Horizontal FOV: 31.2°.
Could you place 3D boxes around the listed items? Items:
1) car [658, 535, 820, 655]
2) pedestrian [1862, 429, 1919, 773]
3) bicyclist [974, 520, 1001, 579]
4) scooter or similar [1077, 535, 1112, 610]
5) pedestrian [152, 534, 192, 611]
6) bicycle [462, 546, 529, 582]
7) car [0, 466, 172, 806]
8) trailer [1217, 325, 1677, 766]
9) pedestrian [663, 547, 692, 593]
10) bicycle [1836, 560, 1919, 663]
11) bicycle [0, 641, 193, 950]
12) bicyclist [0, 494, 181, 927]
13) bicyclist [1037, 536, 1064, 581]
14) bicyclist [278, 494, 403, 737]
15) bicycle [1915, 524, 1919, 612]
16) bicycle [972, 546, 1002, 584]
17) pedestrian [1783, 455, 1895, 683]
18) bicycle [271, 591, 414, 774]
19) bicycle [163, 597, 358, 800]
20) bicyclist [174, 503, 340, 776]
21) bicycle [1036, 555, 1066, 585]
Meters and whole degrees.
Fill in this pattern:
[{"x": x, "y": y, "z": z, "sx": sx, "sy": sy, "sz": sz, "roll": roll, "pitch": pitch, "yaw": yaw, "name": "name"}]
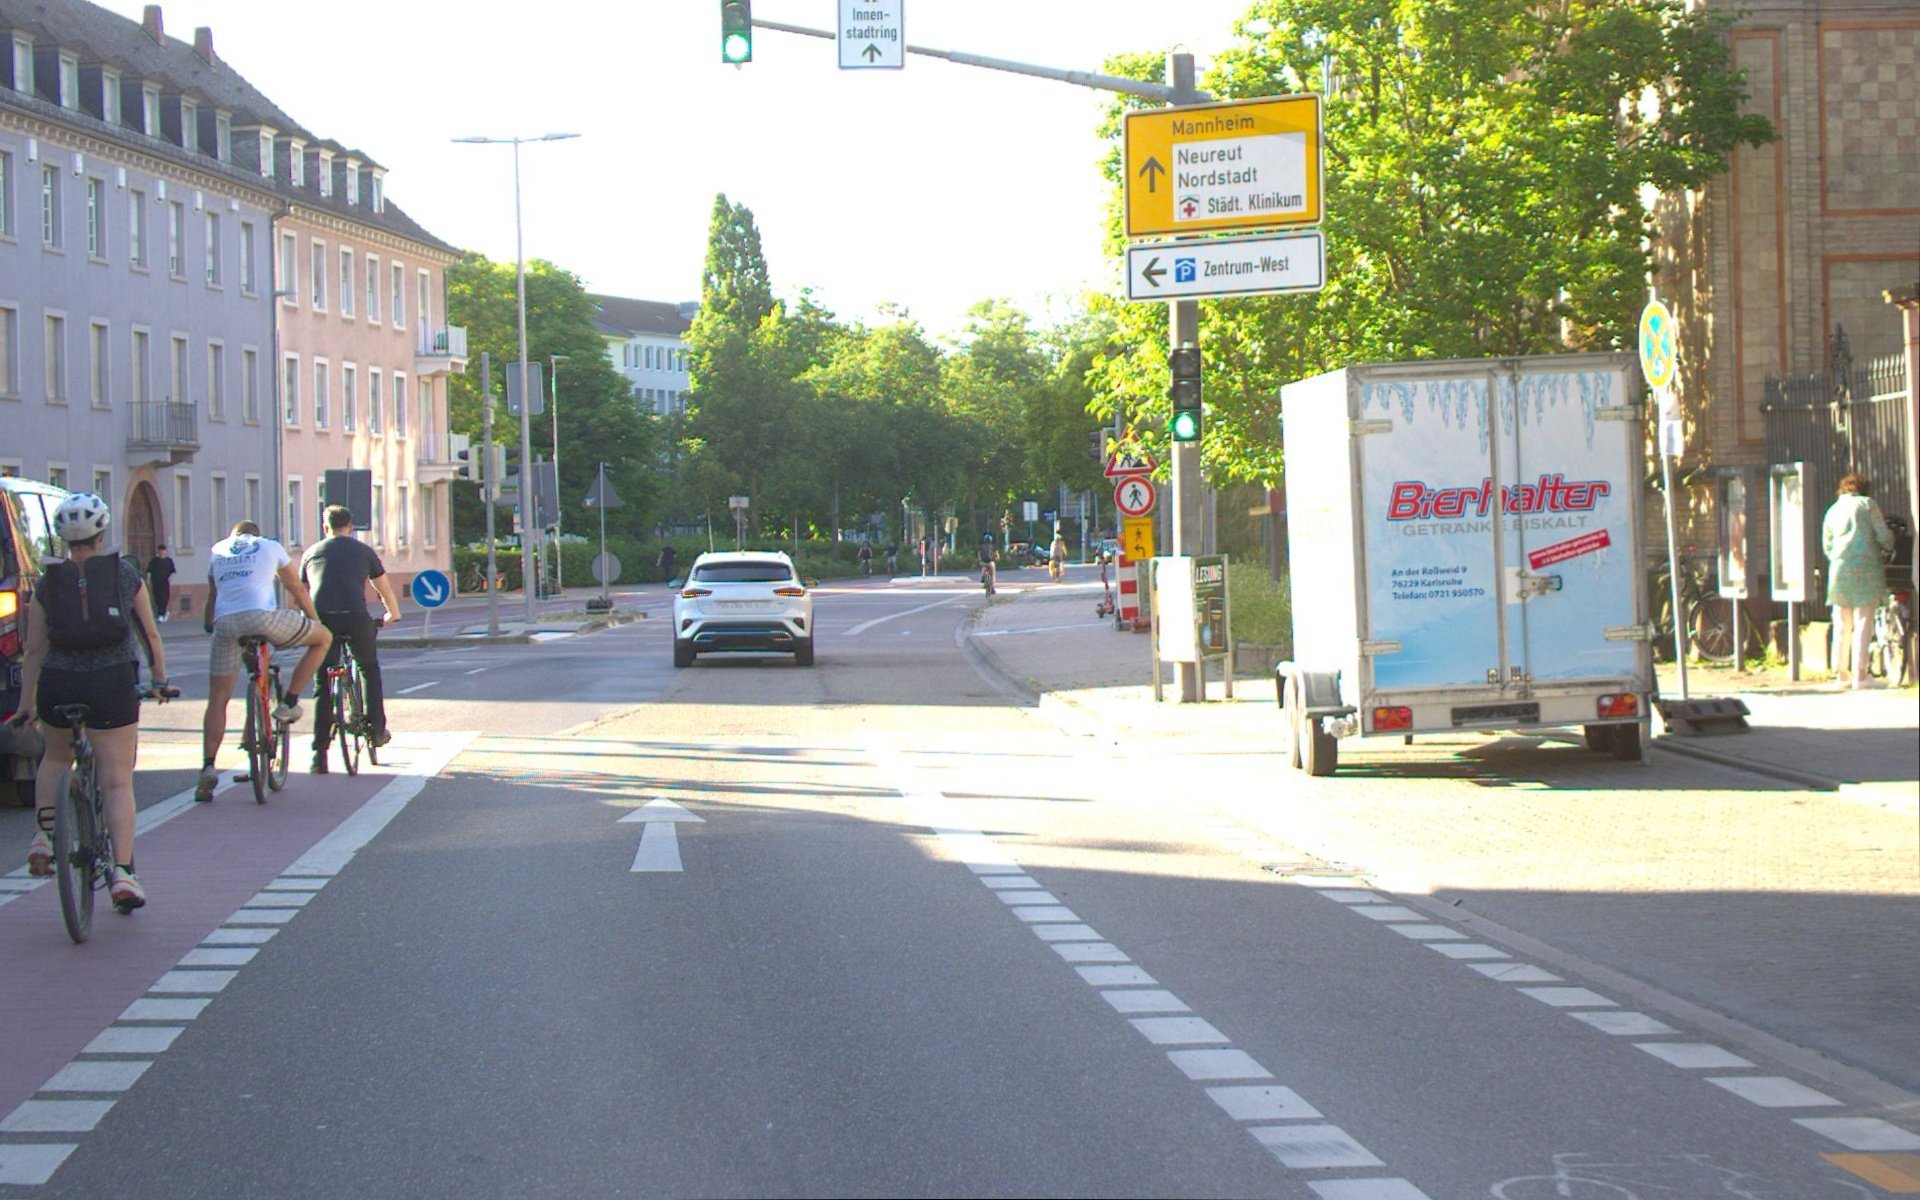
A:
[{"x": -2.914, "y": -0.096, "z": 45.630, "sx": 1.993, "sy": 1.448, "sz": 4.001, "roll": -2, "pitch": 1, "yaw": -3, "name": "car"}, {"x": 5.582, "y": -0.014, "z": 19.192, "sx": 0.715, "sy": 1.888, "sz": 0.890, "roll": -3, "pitch": 2, "yaw": -6, "name": "pedestrian"}, {"x": 0.753, "y": -1.385, "z": 94.718, "sx": 0.636, "sy": 1.609, "sz": 1.284, "roll": 0, "pitch": 1, "yaw": 5, "name": "bicyclist"}, {"x": 2.441, "y": -0.514, "z": 62.089, "sx": 0.555, "sy": 1.304, "sz": 1.832, "roll": -2, "pitch": 1, "yaw": 3, "name": "scooter or similar"}, {"x": -18.956, "y": -0.664, "z": 82.714, "sx": 0.631, "sy": 1.840, "sz": 1.013, "roll": 1, "pitch": 1, "yaw": 4, "name": "pedestrian"}, {"x": -17.028, "y": -1.316, "z": 126.047, "sx": 2.321, "sy": 1.225, "sz": 0.560, "roll": -2, "pitch": 1, "yaw": 11, "name": "bicycle"}, {"x": -6.437, "y": 0.206, "z": 21.784, "sx": 2.067, "sy": 1.909, "sz": 5.034, "roll": -2, "pitch": 1, "yaw": -5, "name": "car"}, {"x": 3.088, "y": -0.380, "z": 22.833, "sx": 2.079, "sy": 2.519, "sz": 4.493, "roll": -3, "pitch": 1, "yaw": -3, "name": "trailer"}, {"x": -11.583, "y": -1.248, "z": 140.939, "sx": 0.856, "sy": 1.845, "sz": 1.001, "roll": -2, "pitch": 1, "yaw": 10, "name": "pedestrian"}, {"x": 7.474, "y": 0.083, "z": 27.919, "sx": 0.264, "sy": 0.790, "sz": 1.451, "roll": -2, "pitch": 1, "yaw": -3, "name": "bicycle"}, {"x": -3.497, "y": 0.728, "z": 13.451, "sx": 0.669, "sy": 1.069, "sz": 1.753, "roll": -1, "pitch": 1, "yaw": -3, "name": "bicycle"}, {"x": -3.501, "y": 0.413, "z": 13.567, "sx": 0.672, "sy": 1.646, "sz": 0.887, "roll": -1, "pitch": 1, "yaw": -4, "name": "bicyclist"}, {"x": 3.192, "y": -1.463, "z": 121.005, "sx": 0.747, "sy": 1.532, "sz": 0.969, "roll": -1, "pitch": 1, "yaw": 12, "name": "bicyclist"}, {"x": -4.210, "y": 0.096, "z": 23.393, "sx": 0.670, "sy": 1.602, "sz": 0.825, "roll": -2, "pitch": 1, "yaw": -2, "name": "bicyclist"}, {"x": 7.465, "y": -0.013, "z": 25.234, "sx": 0.399, "sy": 1.102, "sz": 1.680, "roll": -3, "pitch": 1, "yaw": 1, "name": "bicycle"}, {"x": 0.751, "y": -0.968, "z": 94.768, "sx": 0.643, "sy": 1.021, "sz": 2.212, "roll": 0, "pitch": 1, "yaw": 5, "name": "bicycle"}, {"x": 6.926, "y": -0.250, "z": 27.118, "sx": 0.639, "sy": 1.762, "sz": 0.737, "roll": -2, "pitch": 1, "yaw": -1, "name": "pedestrian"}, {"x": -4.184, "y": 0.534, "z": 23.424, "sx": 0.642, "sy": 1.151, "sz": 2.077, "roll": -1, "pitch": 1, "yaw": -2, "name": "bicycle"}, {"x": -4.250, "y": 0.573, "z": 21.020, "sx": 0.828, "sy": 1.139, "sz": 1.970, "roll": -1, "pitch": 1, "yaw": -2, "name": "bicycle"}, {"x": -4.262, "y": 0.228, "z": 20.891, "sx": 0.803, "sy": 1.602, "sz": 0.825, "roll": -2, "pitch": 1, "yaw": -2, "name": "bicyclist"}, {"x": 3.206, "y": -1.058, "z": 121.006, "sx": 0.753, "sy": 1.022, "sz": 1.868, "roll": 0, "pitch": 1, "yaw": 12, "name": "bicycle"}]
